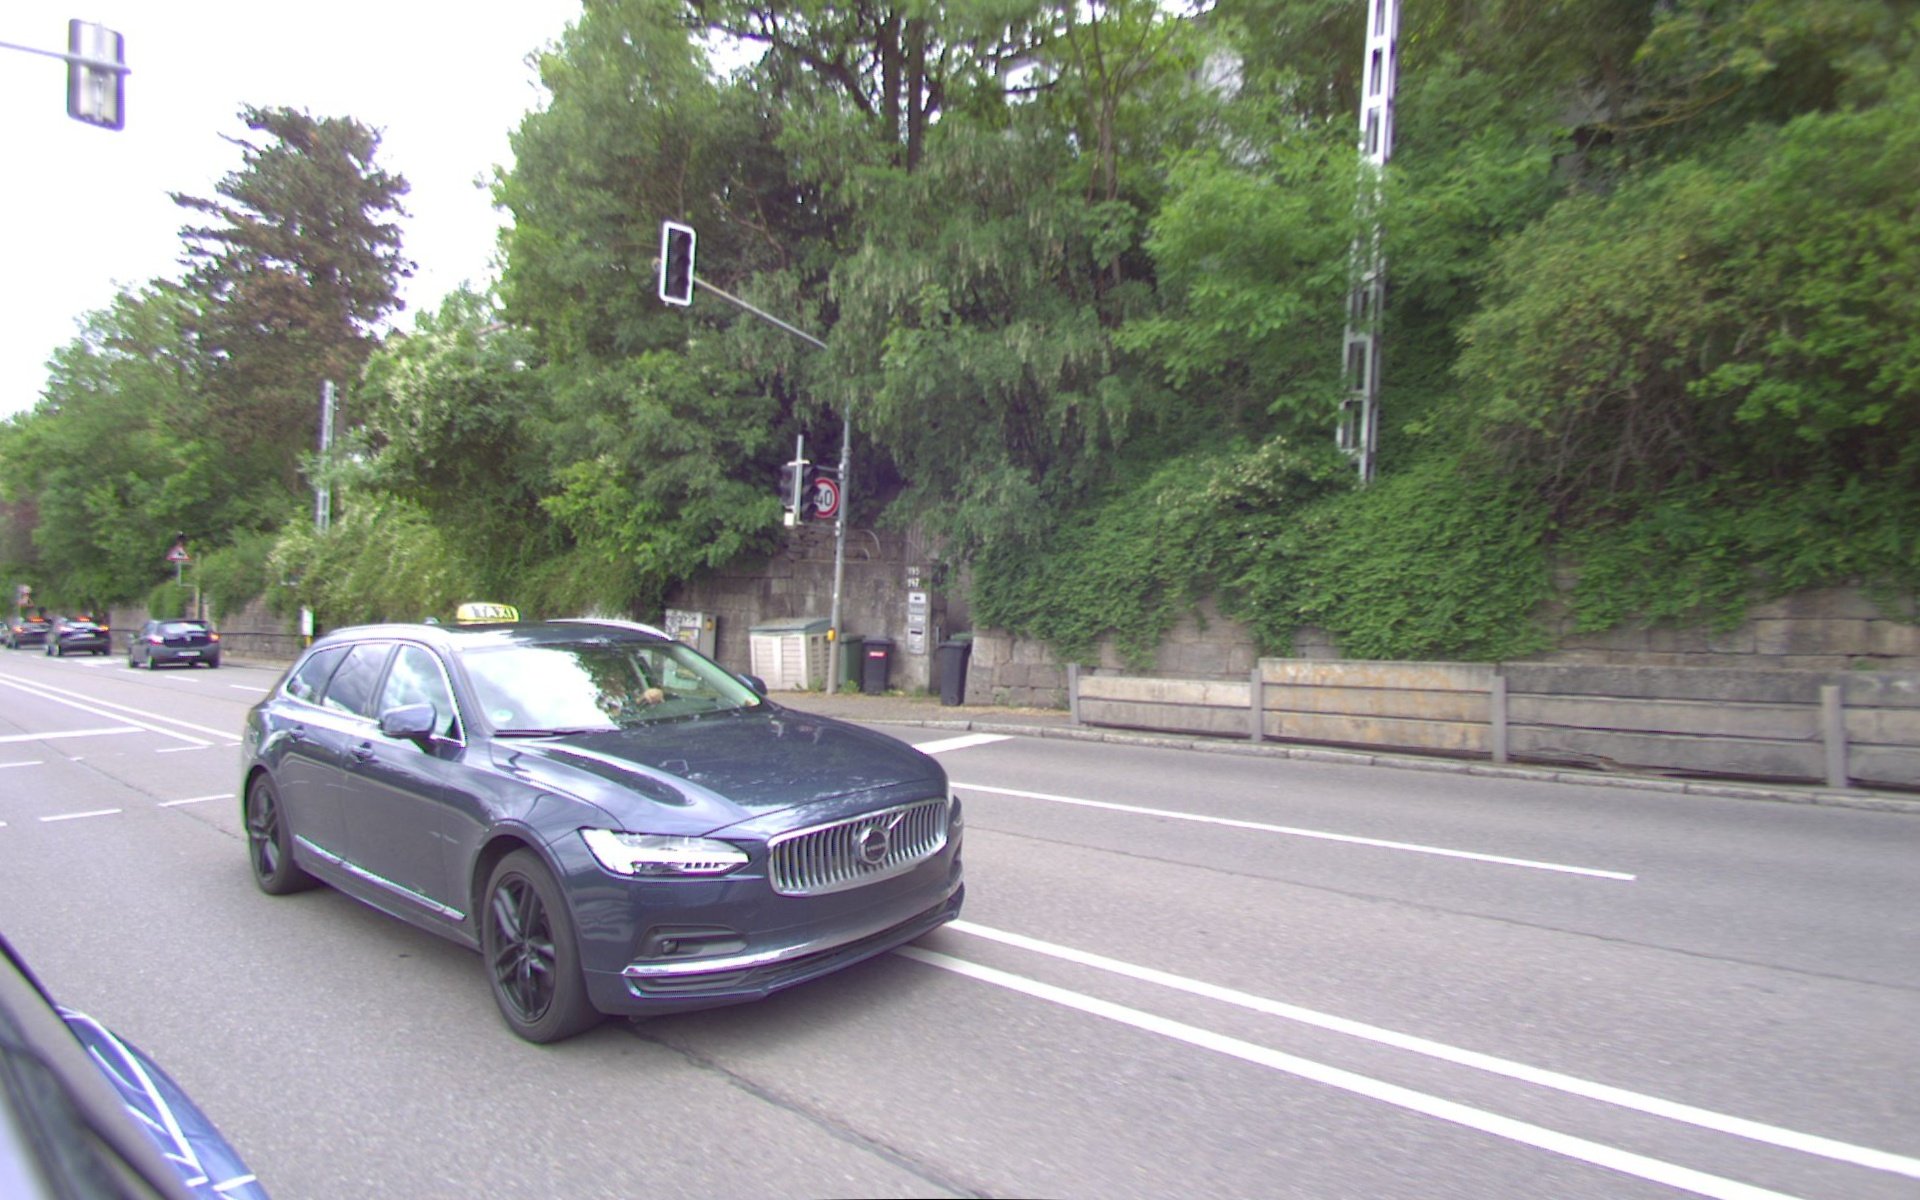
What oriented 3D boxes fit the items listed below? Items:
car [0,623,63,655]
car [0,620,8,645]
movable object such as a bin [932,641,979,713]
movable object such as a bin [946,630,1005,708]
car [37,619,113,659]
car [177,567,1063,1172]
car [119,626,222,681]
[{"bbox_3d":[-47.418,1.934,51.664,4.246,1.560,1.922,-1,-2,41],"label":"car"},{"bbox_3d":[-59.253,2.035,61.486,4.231,1.453,1.659,-2,0,41],"label":"car"},{"bbox_3d":[-0.061,1.066,14.177,0.478,0.957,0.423,-1,0,39],"label":"movable object such as a bin"},{"bbox_3d":[0.224,0.982,14.692,0.556,1.075,0.635,-1,0,39],"label":"movable object such as a bin"},{"bbox_3d":[-36.194,1.588,41.366,4.209,1.493,1.763,-2,0,41],"label":"car"},{"bbox_3d":[-2.106,0.734,5.049,5.025,1.588,1.915,-1,0,41],"label":"car"},{"bbox_3d":[-24.116,1.575,30.863,4.248,1.444,1.793,-1,1,43],"label":"car"}]
